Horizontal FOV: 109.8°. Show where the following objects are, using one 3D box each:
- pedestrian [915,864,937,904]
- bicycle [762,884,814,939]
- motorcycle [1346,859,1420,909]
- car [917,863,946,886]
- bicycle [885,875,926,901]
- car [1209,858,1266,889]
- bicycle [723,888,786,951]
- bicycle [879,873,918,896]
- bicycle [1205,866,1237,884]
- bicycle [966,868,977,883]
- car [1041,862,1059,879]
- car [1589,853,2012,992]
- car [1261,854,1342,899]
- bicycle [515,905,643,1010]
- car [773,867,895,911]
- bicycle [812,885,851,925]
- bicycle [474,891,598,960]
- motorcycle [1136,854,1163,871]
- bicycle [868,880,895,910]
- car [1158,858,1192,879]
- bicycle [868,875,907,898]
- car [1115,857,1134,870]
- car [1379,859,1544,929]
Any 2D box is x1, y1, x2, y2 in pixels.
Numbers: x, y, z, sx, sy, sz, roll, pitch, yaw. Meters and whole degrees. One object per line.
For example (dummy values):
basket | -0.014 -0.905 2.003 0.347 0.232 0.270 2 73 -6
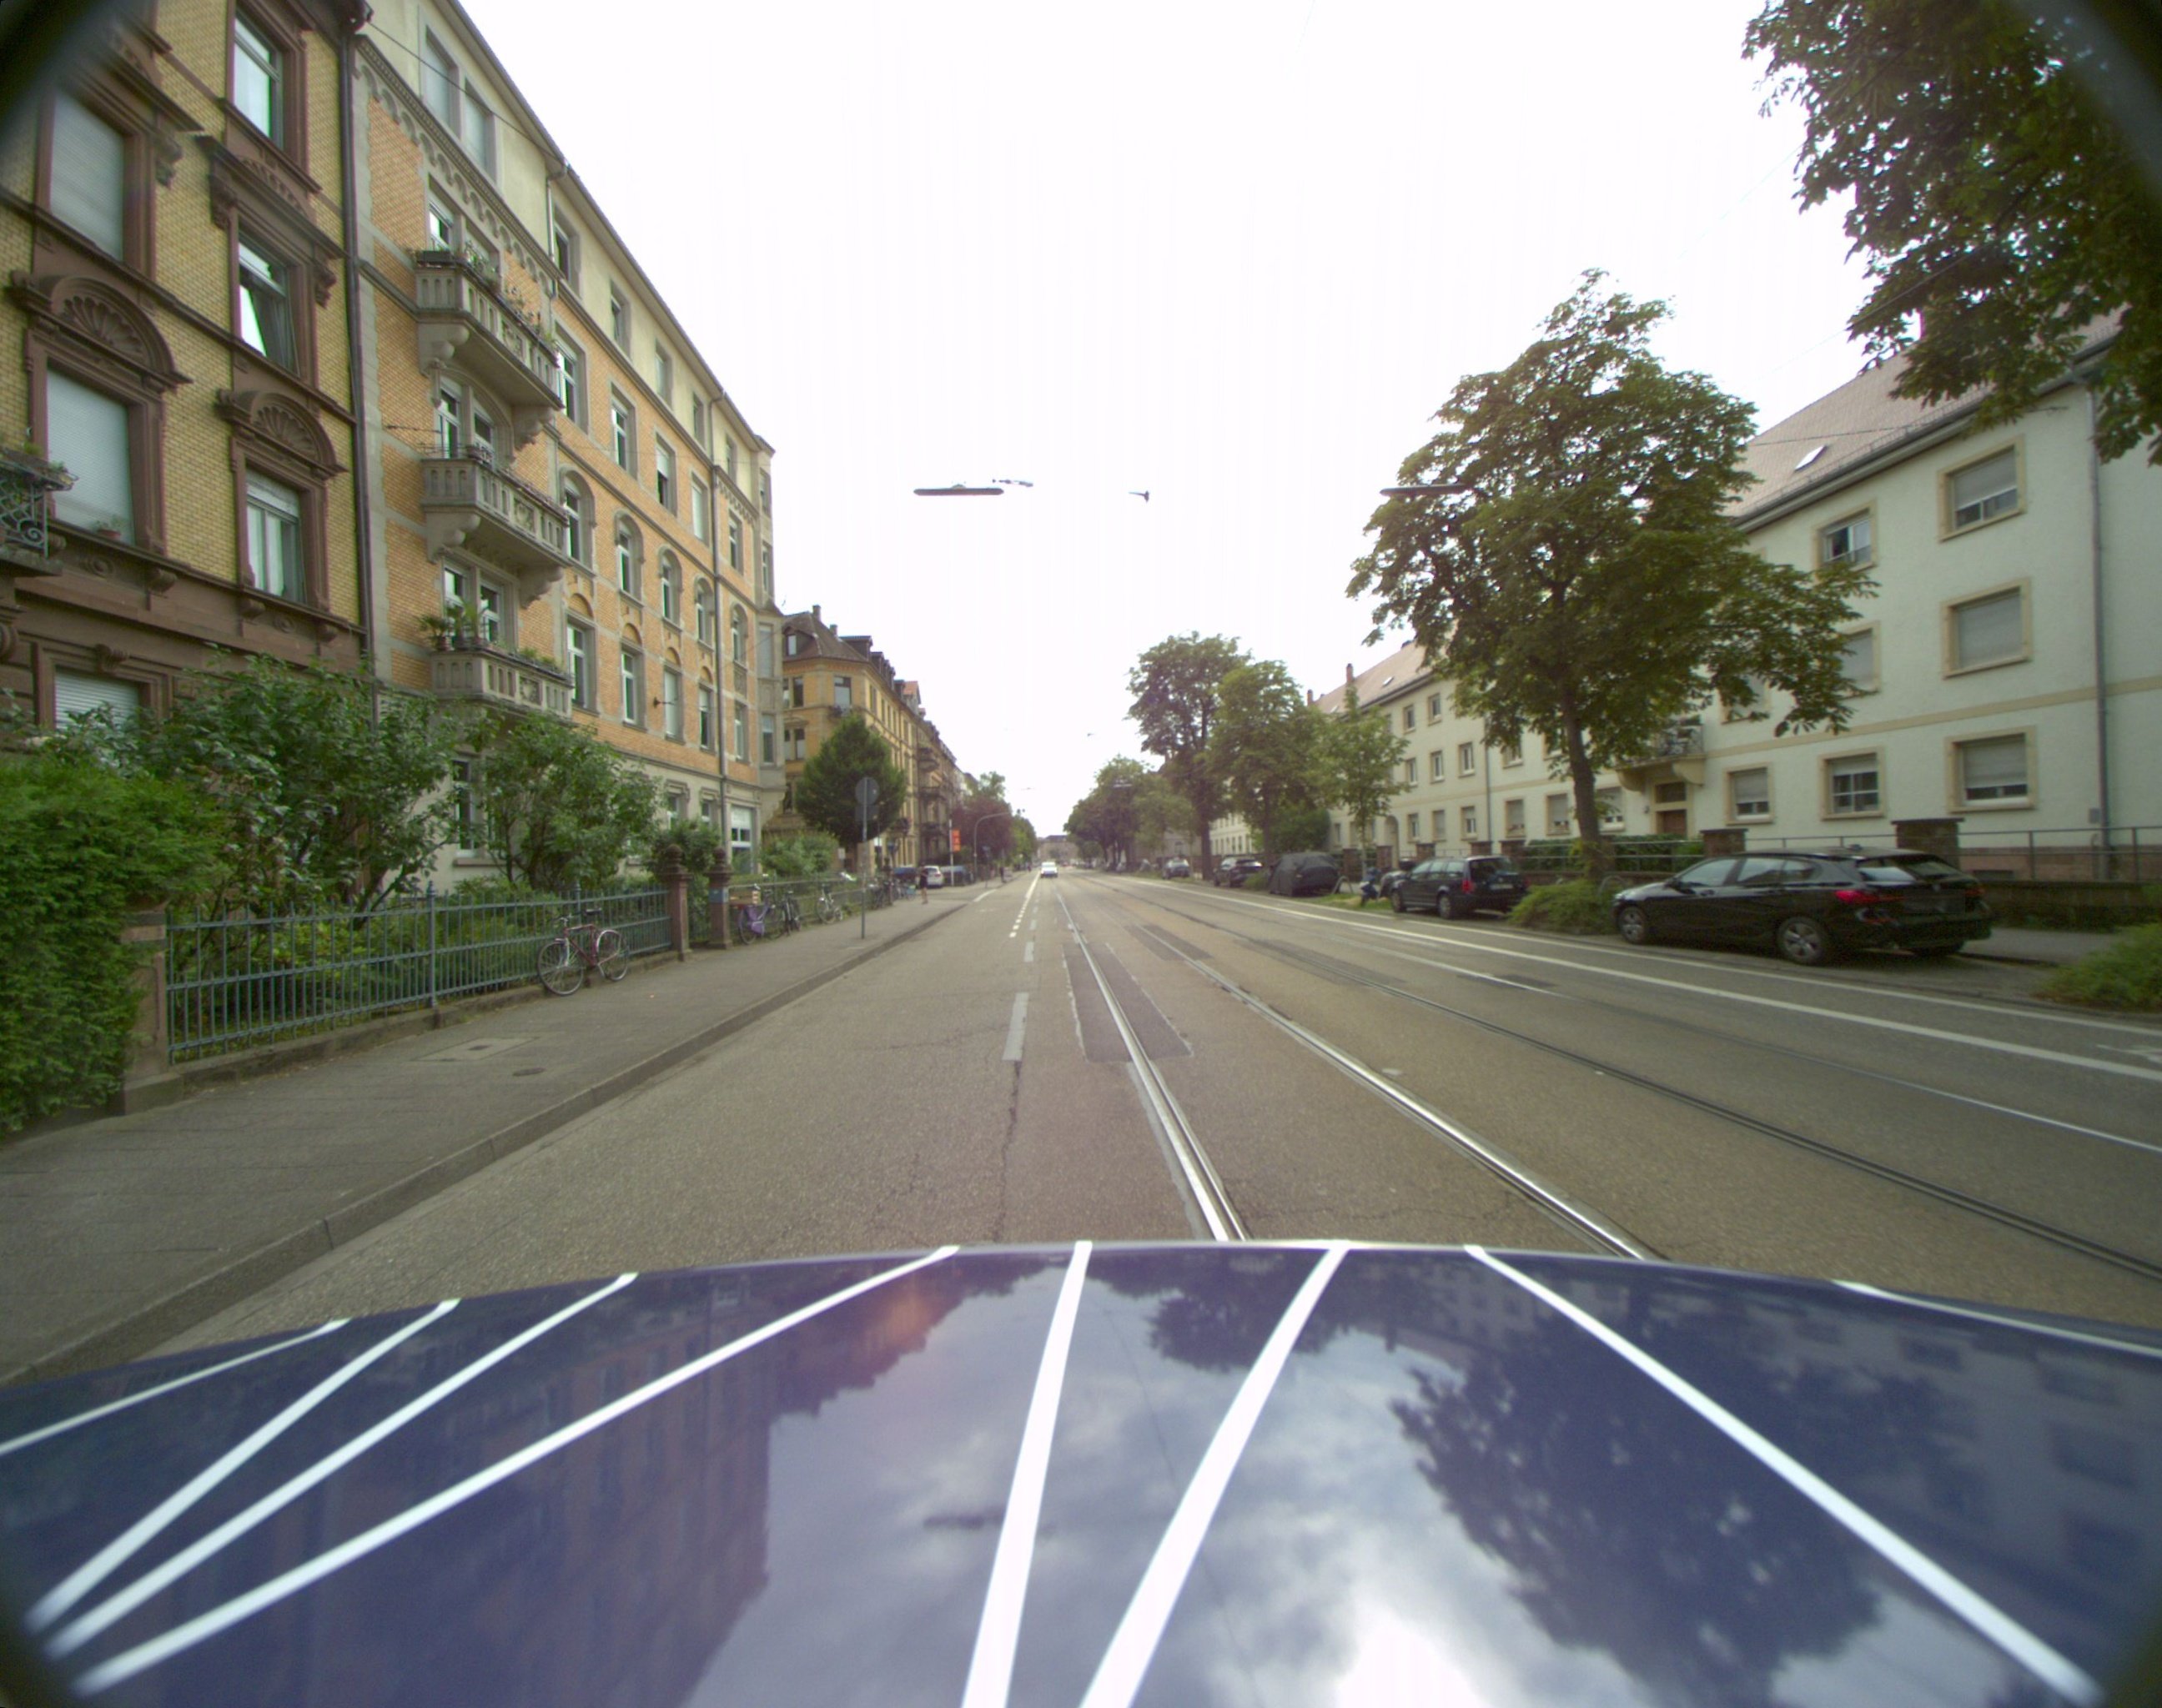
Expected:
pedestrian | -6.449 1.232 31.594 0.732 1.614 0.835 -2 0 -3
bicycle | -6.566 1.258 17.108 0.580 1.105 1.671 2 0 -3
motorcycle | 8.988 0.879 22.634 1.871 1.253 0.591 -7 1 -6
car | -10.504 1.418 53.531 1.757 1.516 3.997 -2 0 -8
bicycle | -8.298 1.610 35.985 0.629 1.106 1.878 -2 0 40
car | 8.042 0.967 39.469 1.701 1.462 4.298 -2 0 -5
bicycle | -6.466 1.279 15.137 0.580 1.105 1.671 2 0 -3
bicycle | -9.440 1.559 39.251 1.890 1.121 0.533 -2 0 14
bicycle | 8.131 1.192 44.127 1.672 0.965 0.672 -2 0 -11
bicycle | -8.556 1.655 59.432 0.630 1.106 1.874 -2 0 -2
car | -3.448 1.810 83.134 1.876 1.670 5.130 -2 0 -3
car | 9.578 0.784 10.736 1.701 1.415 4.299 -5 0 -2
car | 8.635 0.844 30.132 1.790 1.602 4.299 -2 0 -3
bicycle | -6.389 1.271 9.778 0.580 1.105 1.671 -2 0 -3
car | -9.922 1.396 30.729 4.297 1.498 1.702 -3 0 -2
bicycle | -6.789 1.359 20.736 0.580 0.977 1.671 2 0 -3
bicycle | -9.577 1.242 13.388 1.671 1.105 0.611 -1 0 -4
motorcycle | 6.678 0.877 74.315 2.312 1.382 0.838 -7 1 29
bicycle | -6.971 1.420 26.624 0.580 0.977 1.671 2 0 -3
car | 7.209 1.115 58.594 1.701 1.462 4.298 -2 0 -5
bicycle | -9.718 1.622 38.179 1.890 1.121 0.533 -2 0 19
car | 5.464 1.192 96.013 1.732 1.462 4.298 -2 0 -5
car | 9.136 0.887 18.711 1.701 1.415 4.299 -3 0 -3
